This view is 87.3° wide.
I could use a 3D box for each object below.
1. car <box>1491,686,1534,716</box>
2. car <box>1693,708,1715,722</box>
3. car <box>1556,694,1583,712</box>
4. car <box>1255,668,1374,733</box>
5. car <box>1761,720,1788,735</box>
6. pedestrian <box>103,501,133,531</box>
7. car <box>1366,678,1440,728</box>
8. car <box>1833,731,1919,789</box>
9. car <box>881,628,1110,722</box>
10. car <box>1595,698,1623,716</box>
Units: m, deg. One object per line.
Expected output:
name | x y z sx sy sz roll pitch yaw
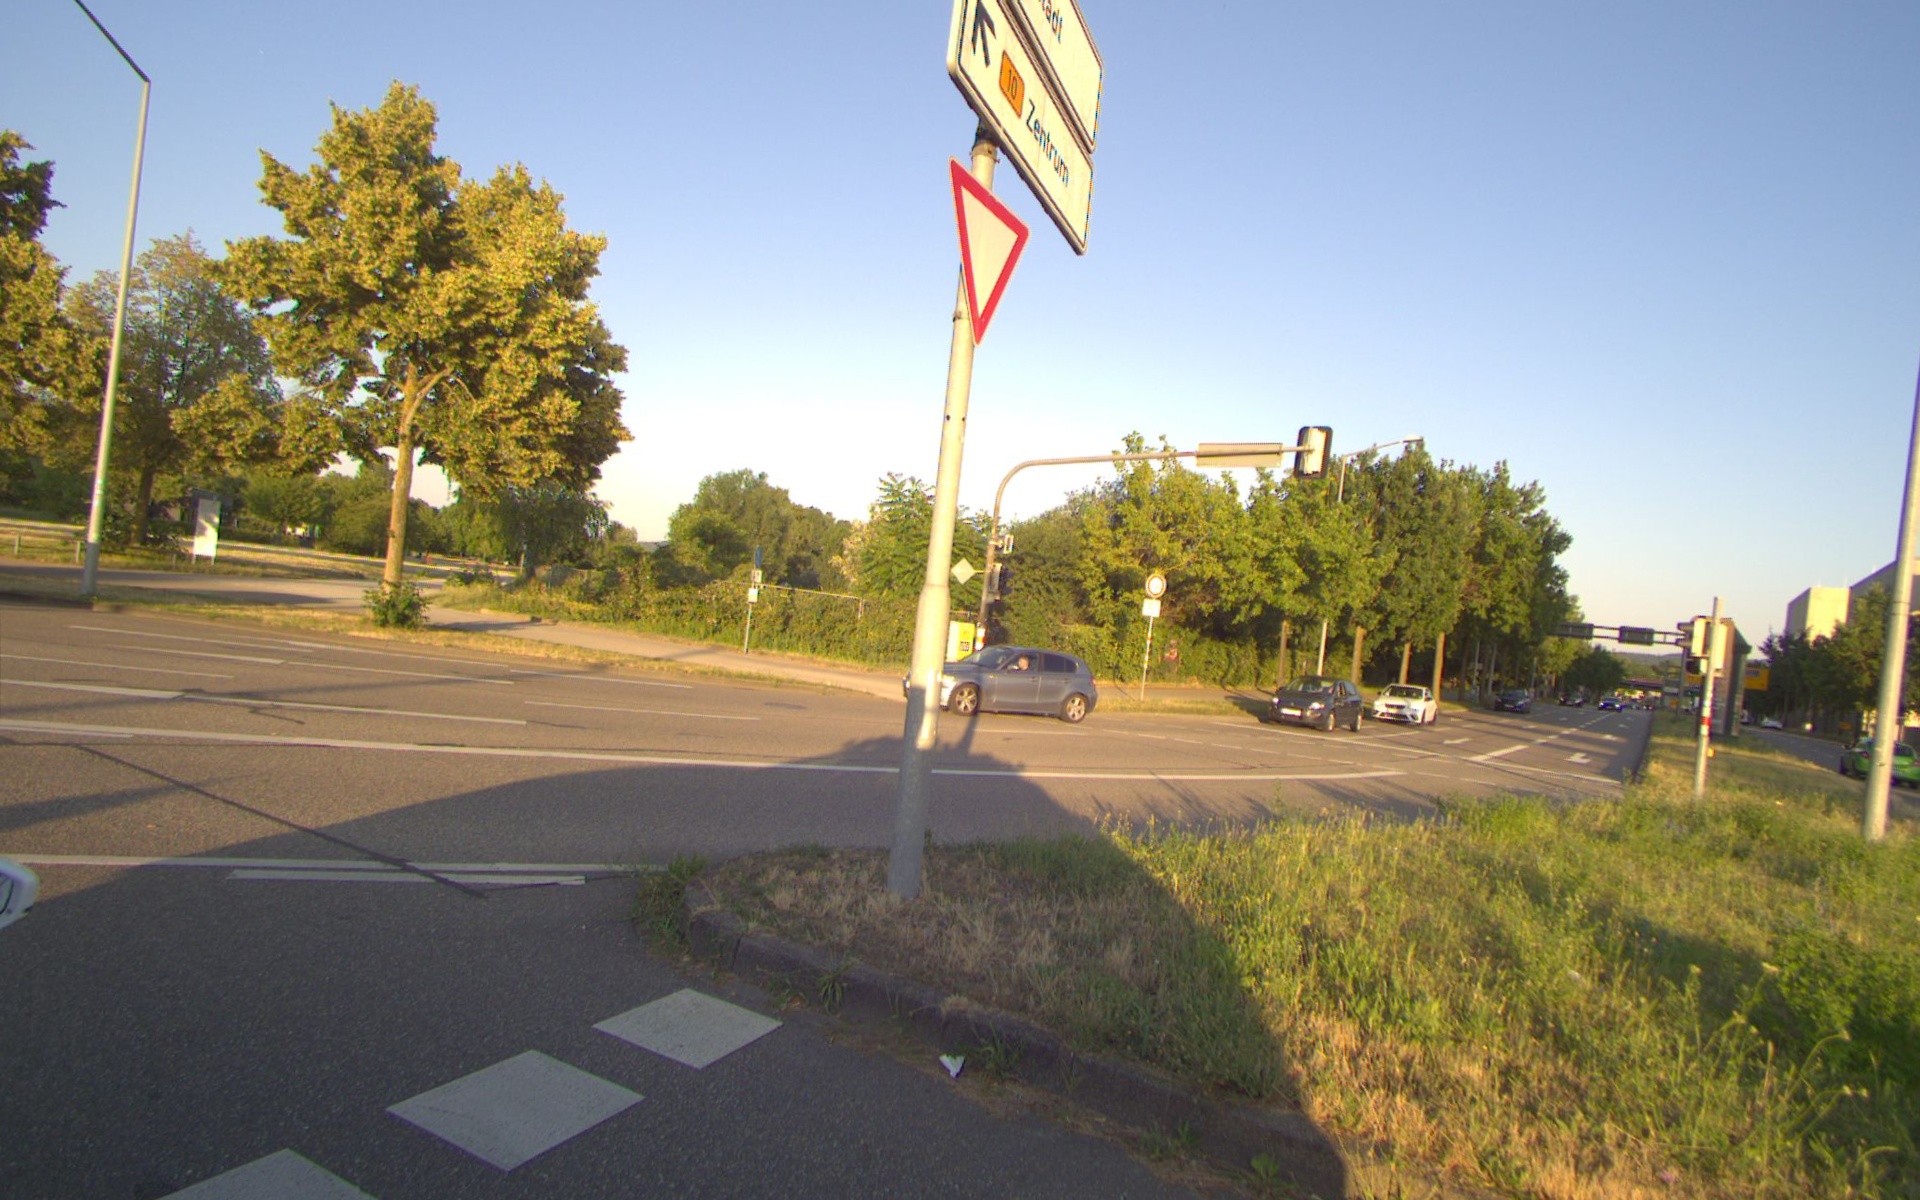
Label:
car | 35.754 6.546 65.032 1.886 1.602 4.170 7 -1 35
car | 99.413 15.368 134.473 1.968 1.648 3.990 7 -1 34
car | 61.410 10.391 101.298 1.968 1.523 4.610 7 -1 34
car | 9.909 2.796 27.956 1.840 1.471 4.148 5 -2 37
car | 101.149 15.867 124.962 1.968 1.444 4.189 7 -1 33
pedestrian | -52.040 -5.176 62.186 0.896 1.637 1.070 7 0 34
car | 16.231 3.744 36.764 1.837 1.471 3.964 7 -1 32
car | 31.230 5.378 34.122 1.662 1.437 3.992 10 1 32
car | 0.746 1.497 19.923 4.121 1.406 1.853 8 -2 -33
car | 63.597 10.475 98.539 1.969 1.523 4.758 7 -1 35
